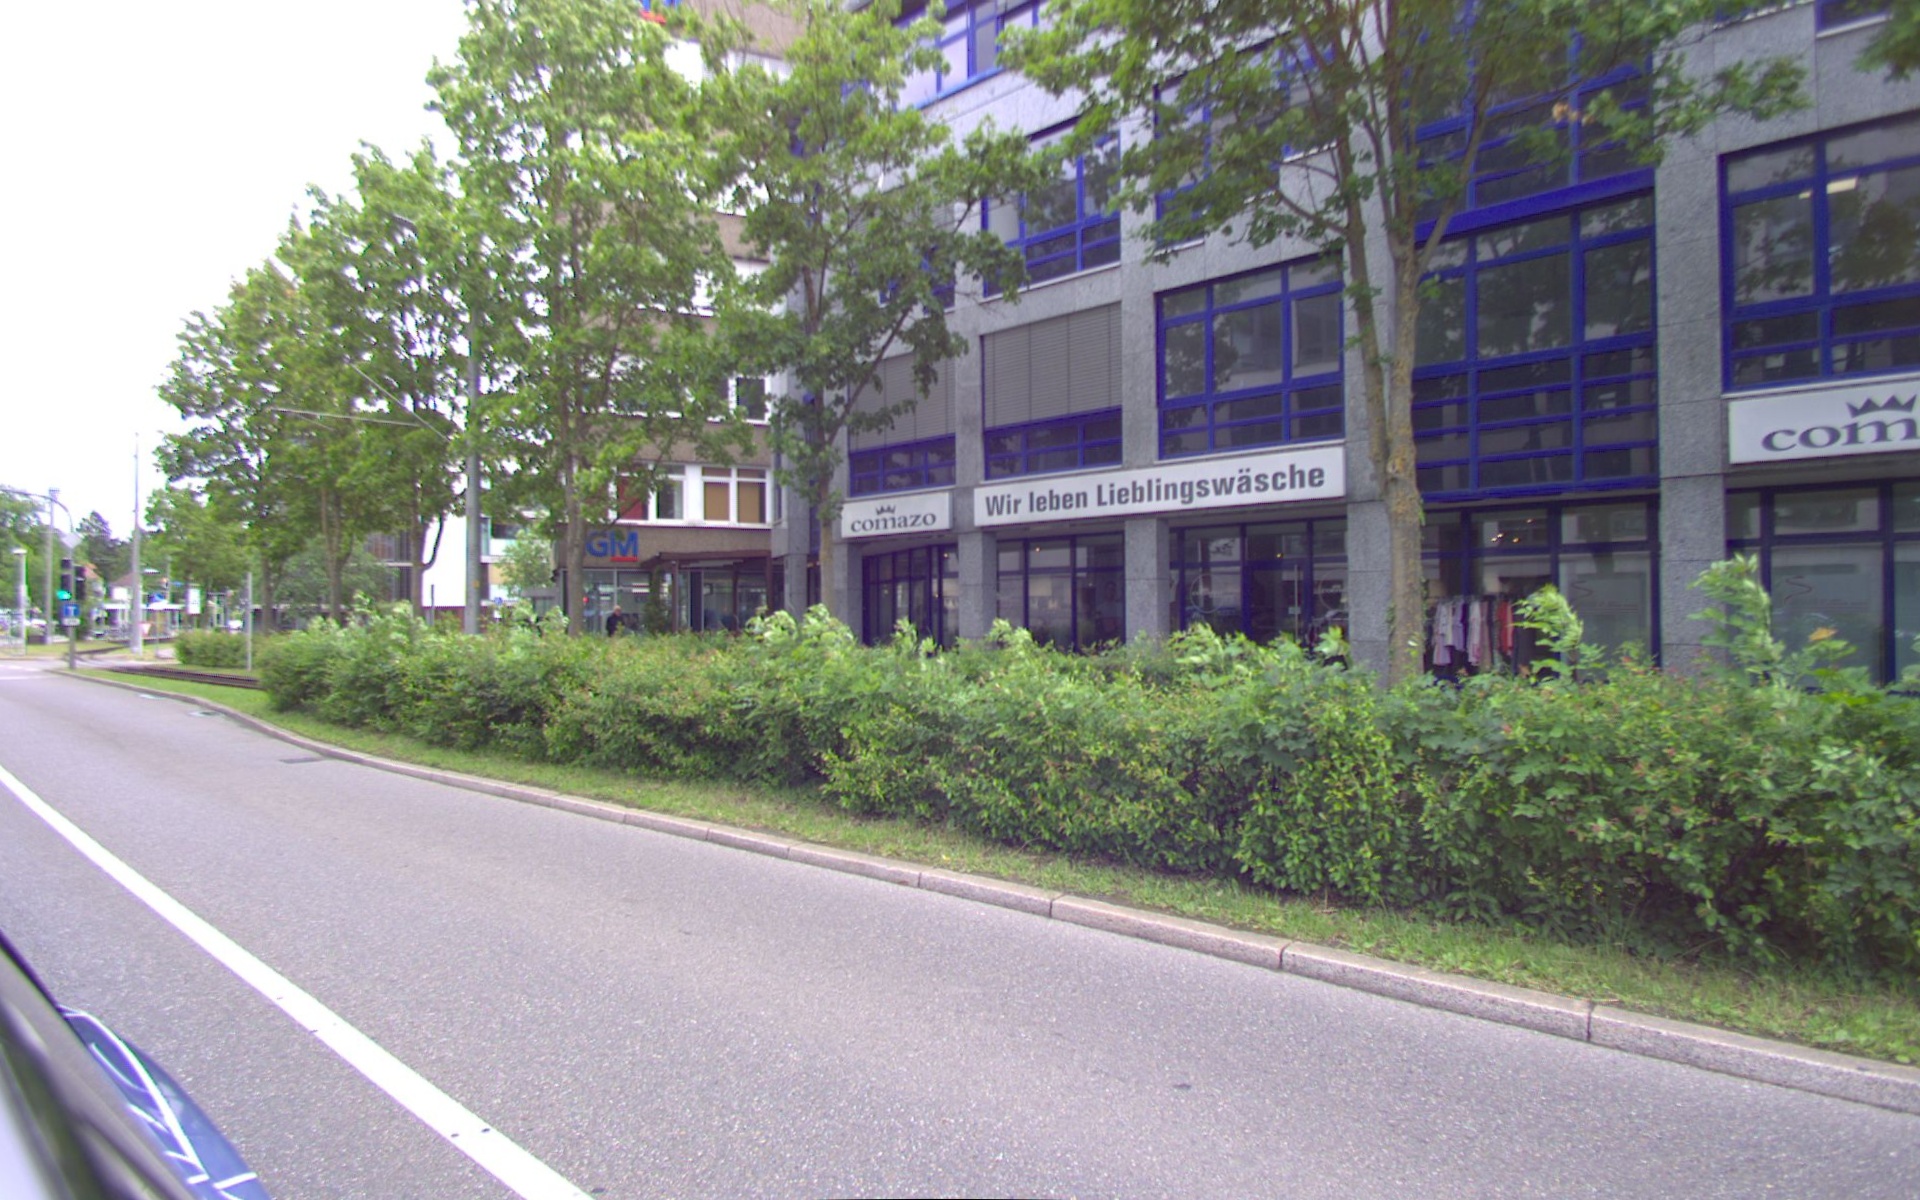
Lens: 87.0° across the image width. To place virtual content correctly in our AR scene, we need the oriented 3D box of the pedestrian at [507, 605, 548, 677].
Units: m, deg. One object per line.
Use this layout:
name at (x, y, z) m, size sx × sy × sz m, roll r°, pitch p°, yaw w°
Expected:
pedestrian at (-11.881, 1.107, 27.788) m, size 0.731 × 1.938 × 0.805 m, roll -1°, pitch 0°, yaw 40°

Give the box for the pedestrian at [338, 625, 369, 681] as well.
pedestrian at (-20.266, 1.747, 33.835) m, size 0.730 × 1.819 × 0.672 m, roll -1°, pitch 0°, yaw 37°

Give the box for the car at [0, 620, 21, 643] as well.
car at (-89.374, 2.929, 94.074) m, size 1.965 × 2.029 × 4.013 m, roll 0°, pitch 0°, yaw -25°

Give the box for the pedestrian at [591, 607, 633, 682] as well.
pedestrian at (-8.997, 1.138, 26.173) m, size 0.731 × 1.908 × 0.766 m, roll -1°, pitch 0°, yaw 40°
